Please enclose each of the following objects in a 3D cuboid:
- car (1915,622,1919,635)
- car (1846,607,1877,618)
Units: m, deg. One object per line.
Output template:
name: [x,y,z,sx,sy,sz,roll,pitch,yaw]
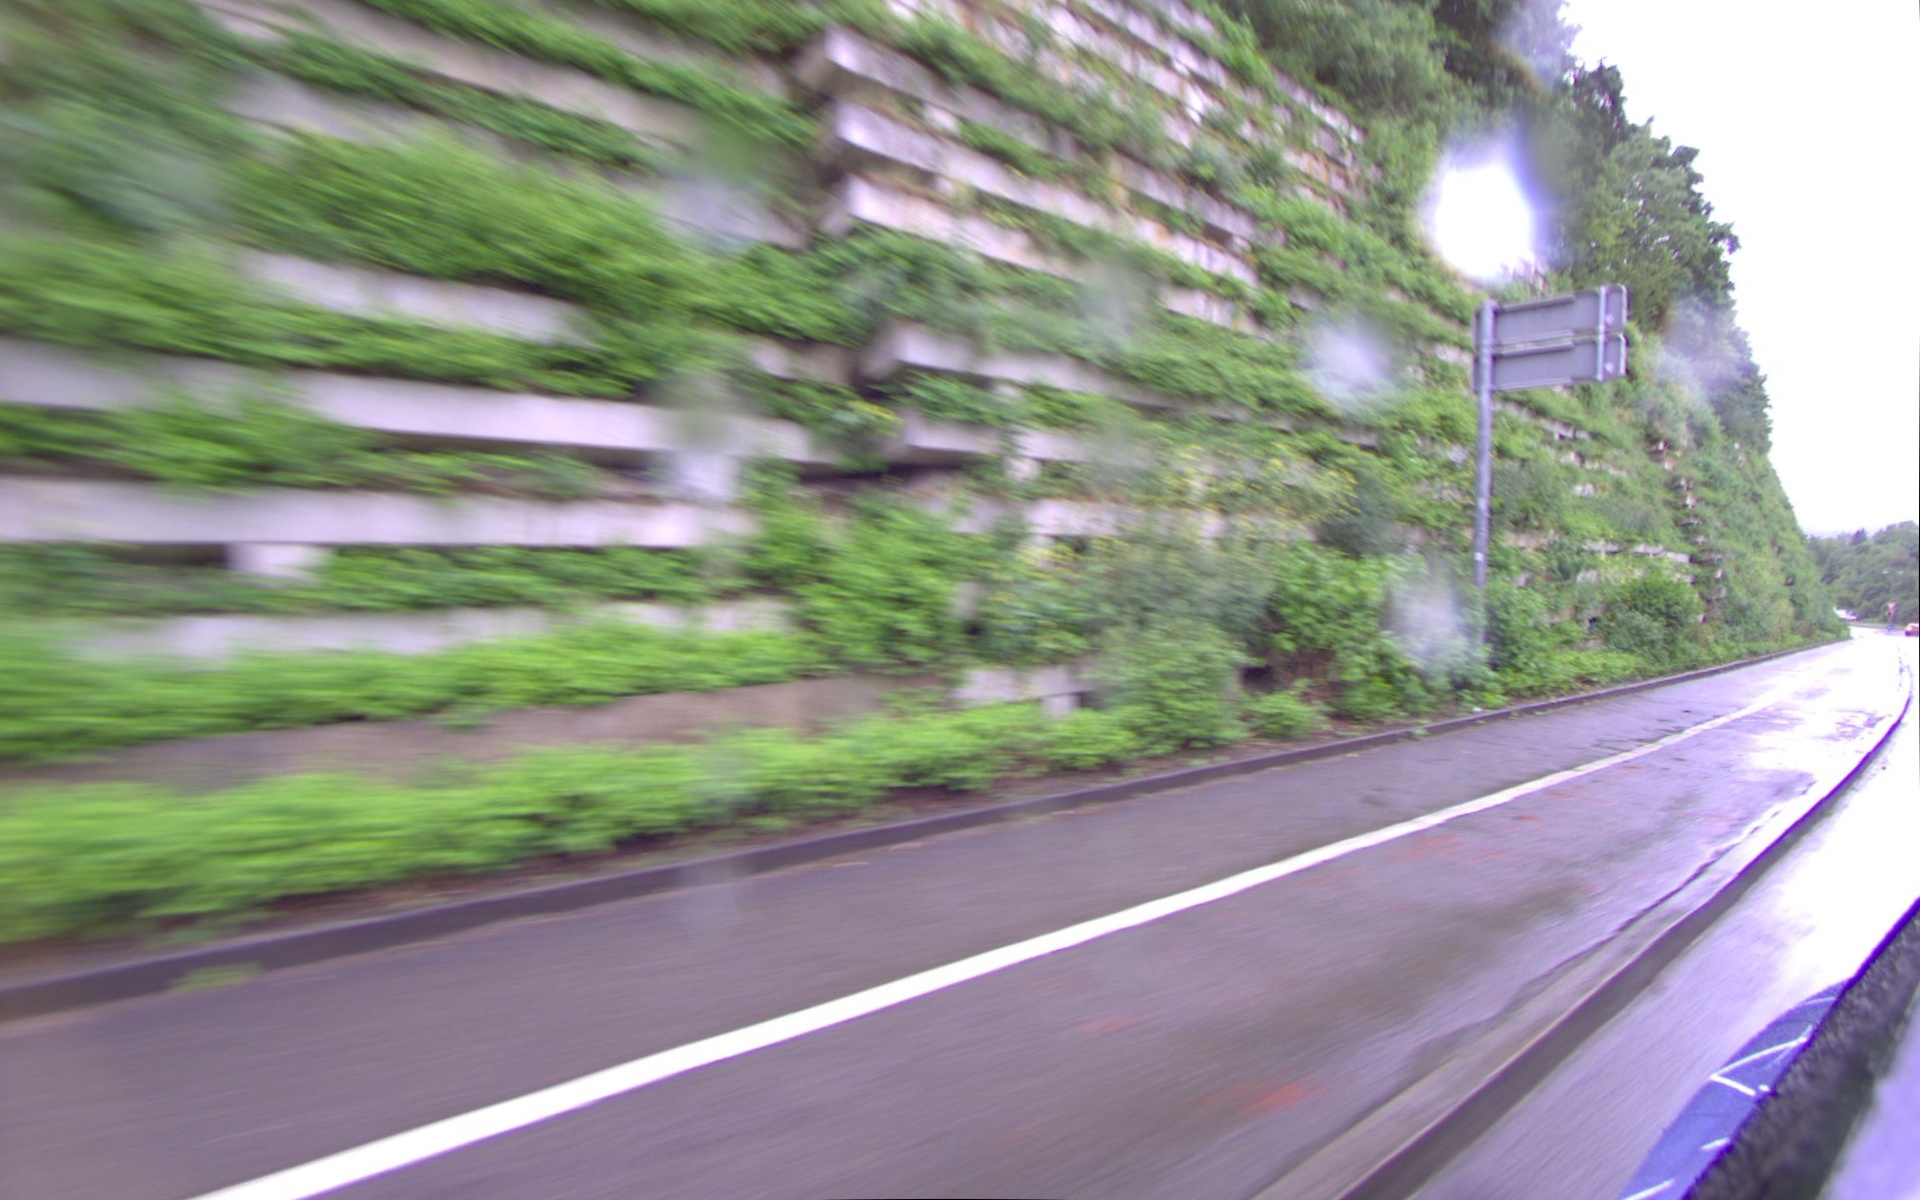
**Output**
car: [123.150,3.653,129.110,3.935,1.638,1.734,0,1,-45]
car: [156.517,2.222,175.772,3.808,1.587,1.750,6,4,39]
